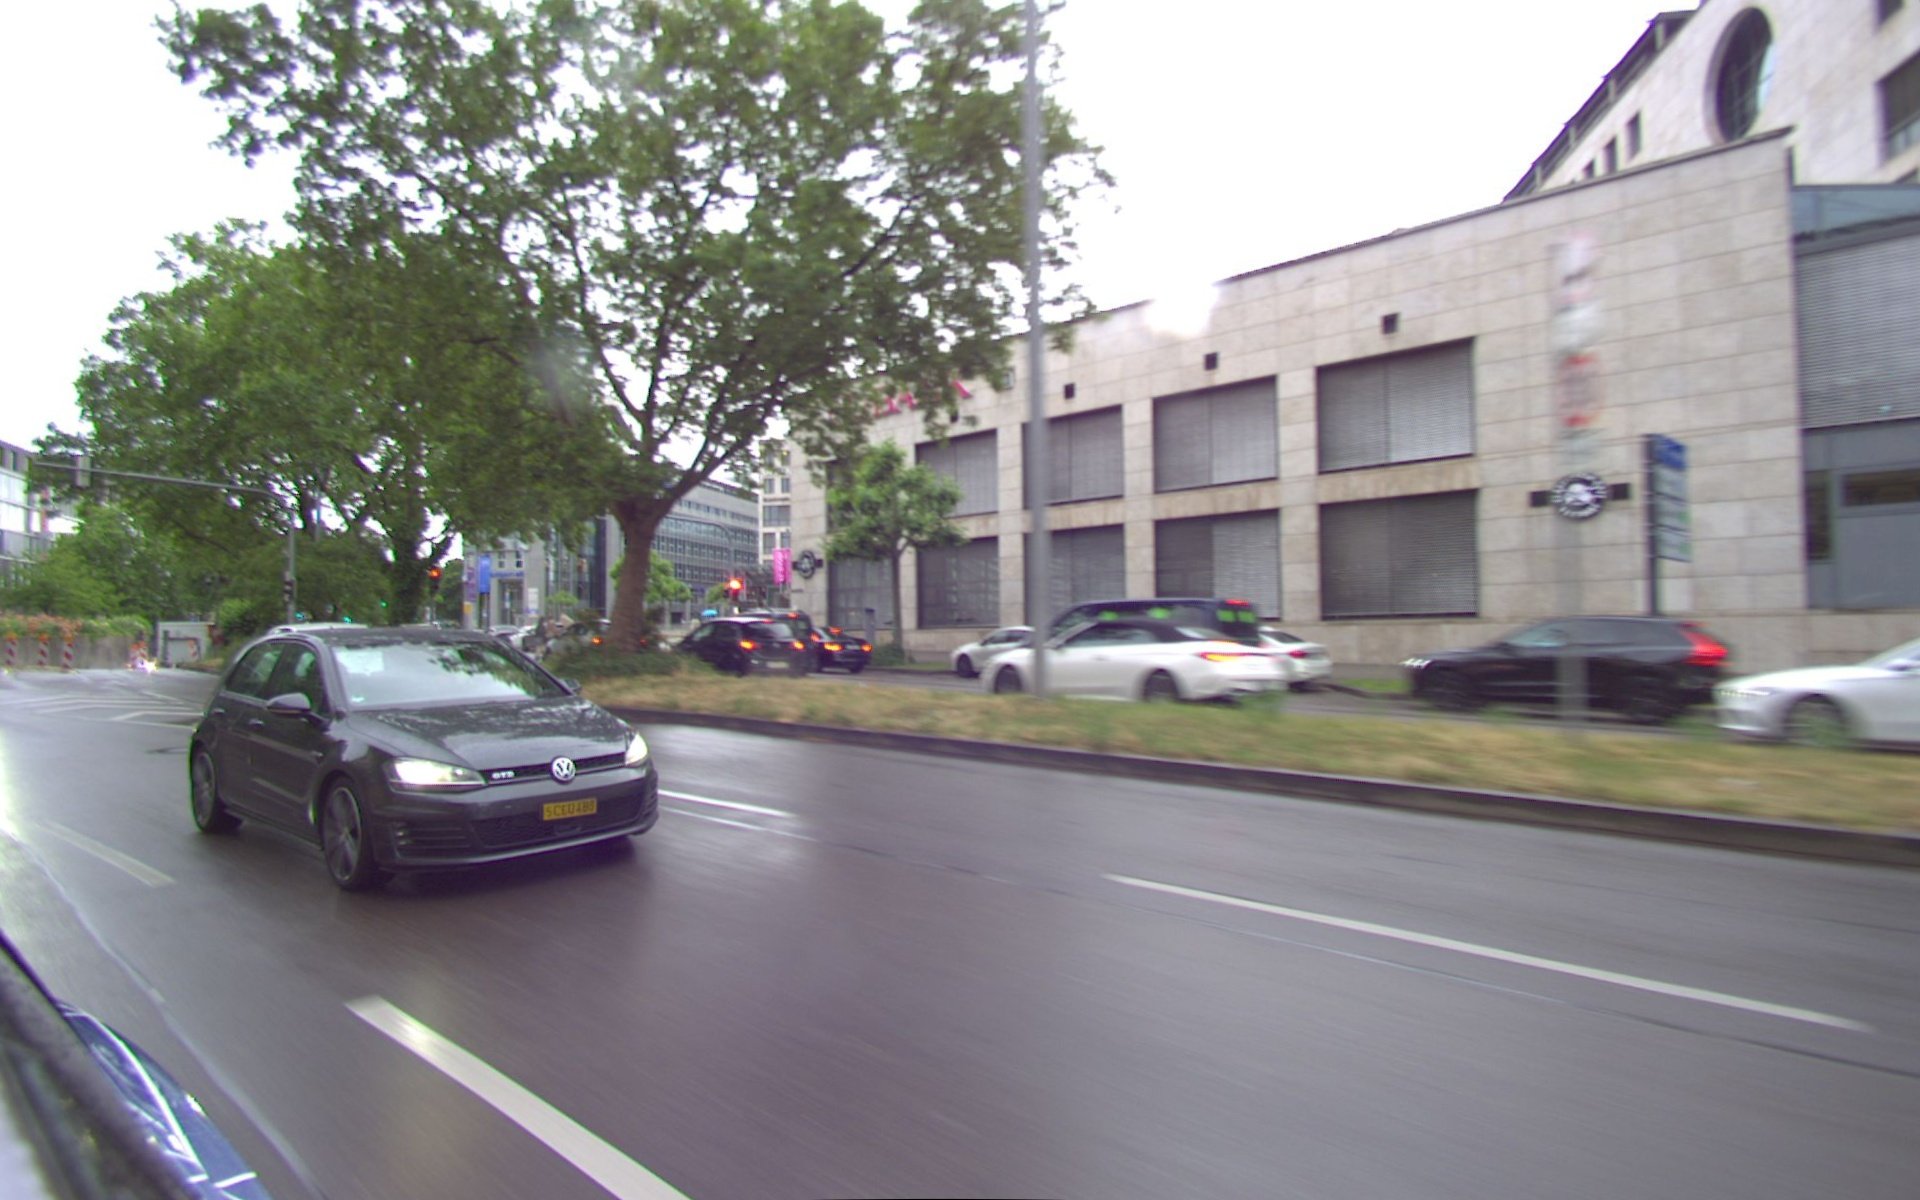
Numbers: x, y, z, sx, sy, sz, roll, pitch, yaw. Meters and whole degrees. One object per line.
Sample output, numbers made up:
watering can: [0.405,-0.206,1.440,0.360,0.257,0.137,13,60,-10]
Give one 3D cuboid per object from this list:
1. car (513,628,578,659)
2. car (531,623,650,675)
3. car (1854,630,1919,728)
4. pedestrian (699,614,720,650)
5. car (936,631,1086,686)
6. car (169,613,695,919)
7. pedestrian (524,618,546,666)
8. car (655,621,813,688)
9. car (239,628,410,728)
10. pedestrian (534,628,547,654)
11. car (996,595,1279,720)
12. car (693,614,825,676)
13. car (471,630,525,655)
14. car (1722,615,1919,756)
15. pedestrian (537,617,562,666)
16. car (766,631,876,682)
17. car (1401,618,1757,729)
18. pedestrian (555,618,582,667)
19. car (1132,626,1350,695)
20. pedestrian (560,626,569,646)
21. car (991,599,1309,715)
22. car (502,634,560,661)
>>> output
car: [-23.393,2.413,56.987,1.969,1.664,4.734,2,-2,-41]
car: [-10.513,1.334,28.646,1.726,1.375,4.135,2,-2,-43]
car: [15.281,1.158,14.631,1.573,1.426,3.404,2,-2,-43]
pedestrian: [-13.667,1.730,55.224,1.125,1.939,0.581,-2,-1,42]
car: [1.381,1.608,28.887,1.726,1.426,4.298,2,-2,-42]
car: [-3.758,0.856,6.876,4.120,1.463,1.766,-2,-2,40]
pedestrian: [-14.531,1.446,34.630,0.551,1.626,0.422,-2,-2,23]
car: [-5.164,1.163,22.819,1.726,1.375,3.948,2,-2,-43]
car: [-11.804,1.336,18.699,4.001,1.608,1.757,-1,-2,44]
pedestrian: [-29.727,2.874,71.690,0.737,1.803,0.424,-1,-1,-16]
car: [3.128,0.984,18.805,1.810,2.017,5.107,2,-2,-44]
car: [-5.802,1.246,28.932,1.809,1.652,4.095,2,-2,-43]
car: [-30.392,2.754,66.500,1.981,1.545,4.718,1,-2,-40]
car: [10.862,0.885,10.600,1.707,1.443,4.398,2,-2,-44]
pedestrian: [-13.921,1.412,34.296,0.635,1.626,0.446,-2,-2,12]
car: [-4.363,1.726,31.438,1.730,1.475,3.487,1,-2,-42]
car: [9.826,1.079,16.366,1.707,1.544,4.643,2,-2,-44]
pedestrian: [-13.233,1.432,34.223,0.635,1.626,0.608,-2,-2,12]
car: [6.417,1.329,23.559,1.726,1.426,4.709,2,-2,-43]
pedestrian: [-32.494,2.981,83.066,0.570,1.639,0.563,0,-2,-9]
car: [2.643,0.763,14.837,1.839,1.453,4.316,2,-2,-45]
car: [-26.053,2.853,61.377,1.981,1.545,4.443,1,-2,-40]
